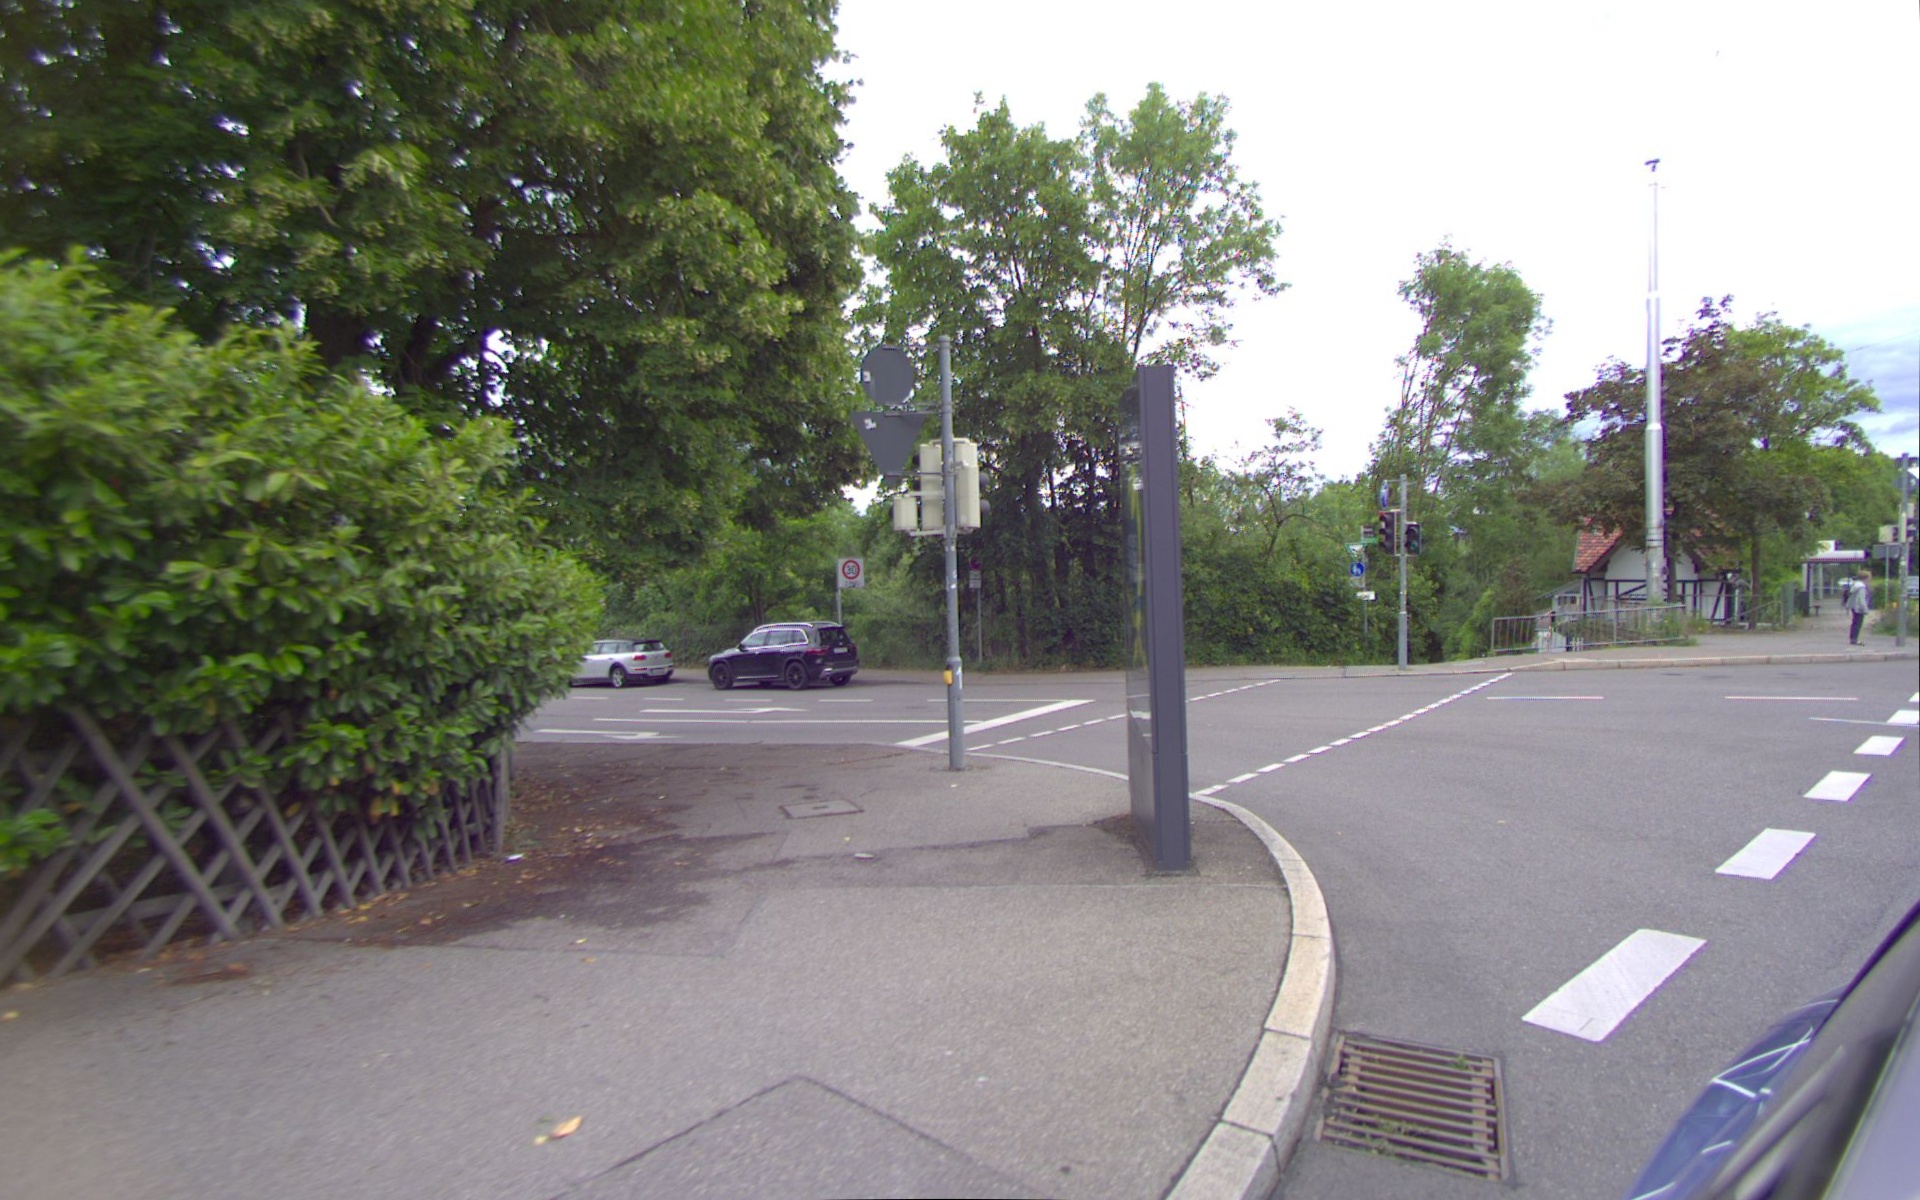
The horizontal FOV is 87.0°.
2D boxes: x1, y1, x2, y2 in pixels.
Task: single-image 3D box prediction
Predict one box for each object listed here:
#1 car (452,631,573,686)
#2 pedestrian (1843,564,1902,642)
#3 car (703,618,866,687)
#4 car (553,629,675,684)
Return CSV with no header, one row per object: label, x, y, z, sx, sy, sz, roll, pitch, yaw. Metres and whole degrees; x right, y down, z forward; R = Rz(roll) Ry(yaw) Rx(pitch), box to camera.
car,-14.918,1.930,33.645,4.474,1.649,1.610,-2,-1,36
pedestrian,20.406,0.067,22.642,0.681,1.709,0.621,0,2,-3
car,-4.644,1.377,26.575,4.239,1.640,1.725,-3,-1,36
car,-10.607,1.712,30.917,3.754,1.473,1.610,-2,1,36
